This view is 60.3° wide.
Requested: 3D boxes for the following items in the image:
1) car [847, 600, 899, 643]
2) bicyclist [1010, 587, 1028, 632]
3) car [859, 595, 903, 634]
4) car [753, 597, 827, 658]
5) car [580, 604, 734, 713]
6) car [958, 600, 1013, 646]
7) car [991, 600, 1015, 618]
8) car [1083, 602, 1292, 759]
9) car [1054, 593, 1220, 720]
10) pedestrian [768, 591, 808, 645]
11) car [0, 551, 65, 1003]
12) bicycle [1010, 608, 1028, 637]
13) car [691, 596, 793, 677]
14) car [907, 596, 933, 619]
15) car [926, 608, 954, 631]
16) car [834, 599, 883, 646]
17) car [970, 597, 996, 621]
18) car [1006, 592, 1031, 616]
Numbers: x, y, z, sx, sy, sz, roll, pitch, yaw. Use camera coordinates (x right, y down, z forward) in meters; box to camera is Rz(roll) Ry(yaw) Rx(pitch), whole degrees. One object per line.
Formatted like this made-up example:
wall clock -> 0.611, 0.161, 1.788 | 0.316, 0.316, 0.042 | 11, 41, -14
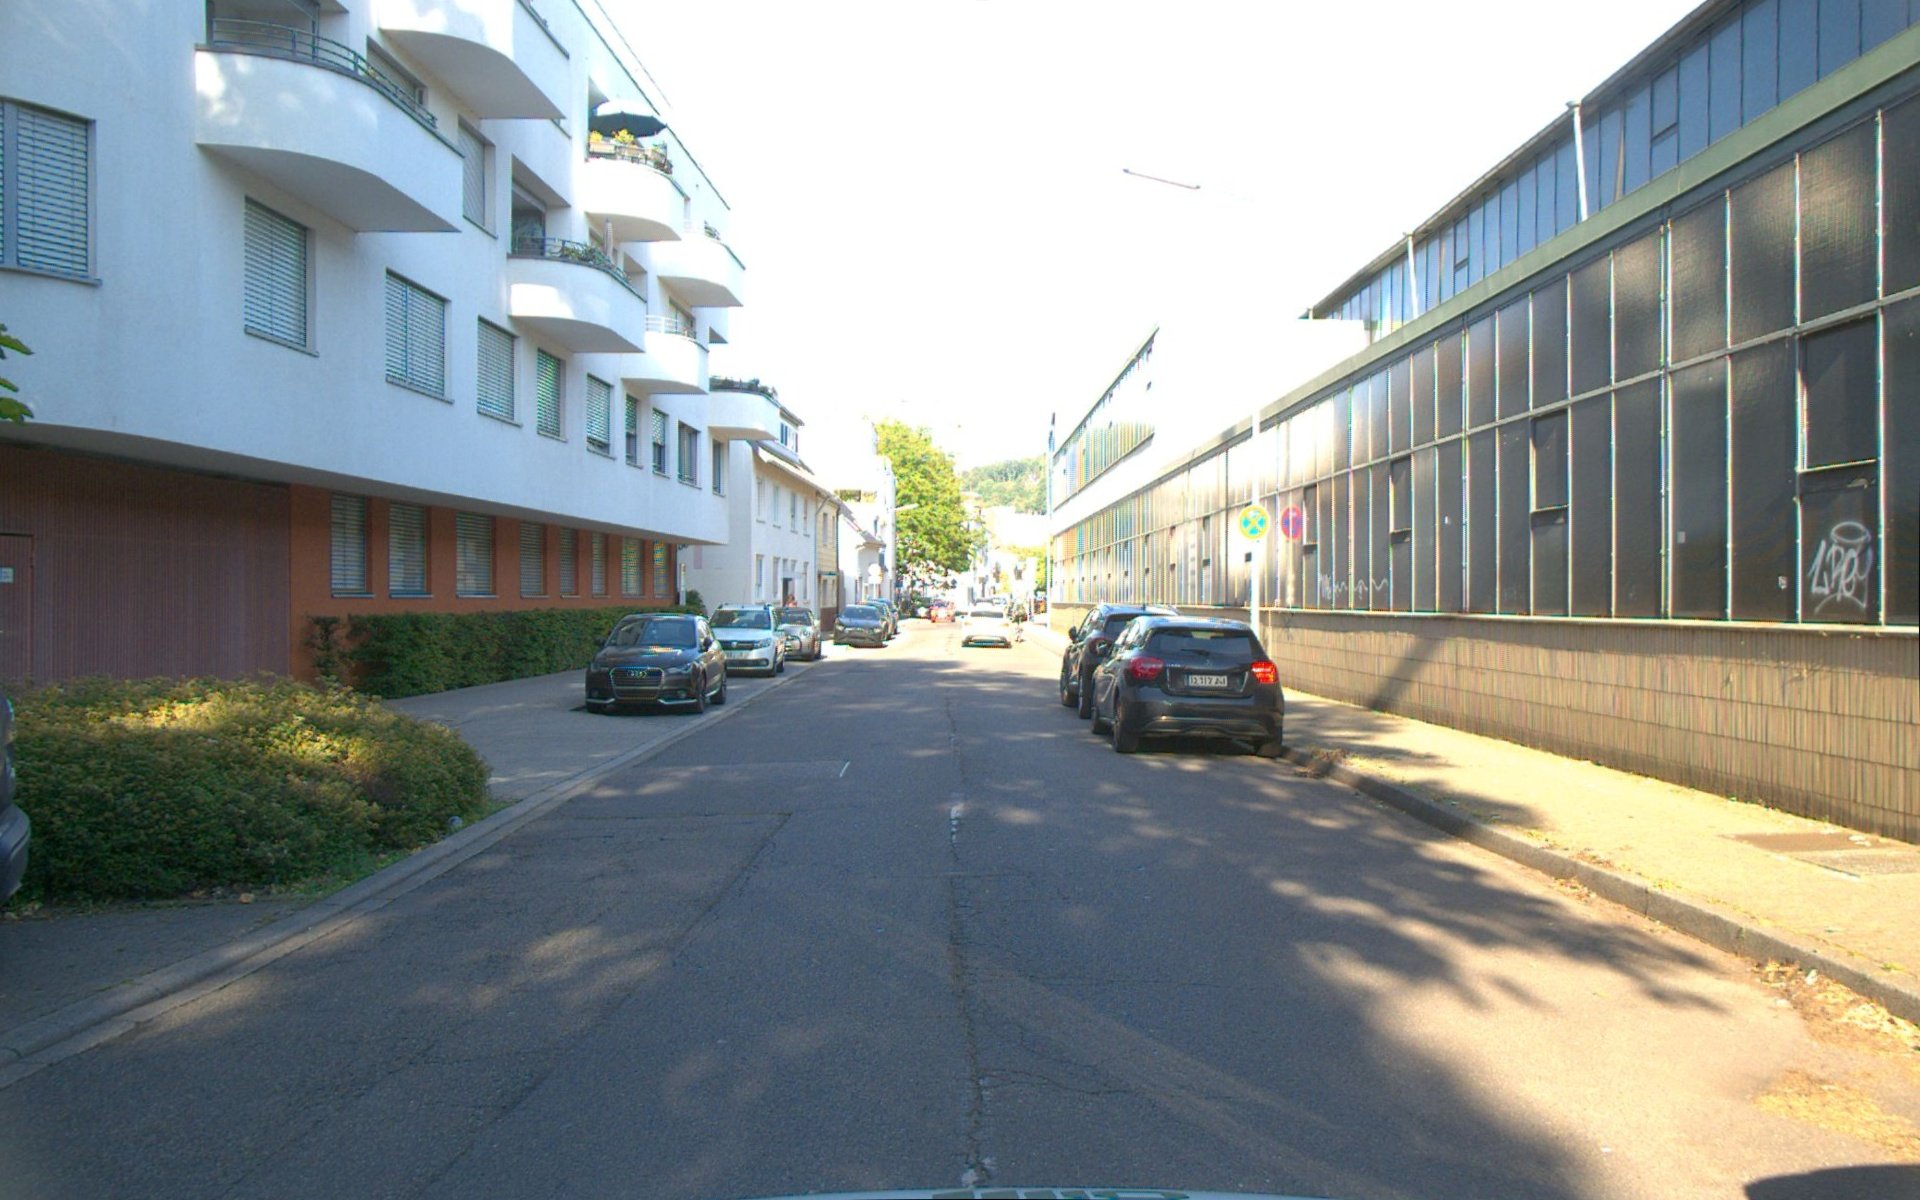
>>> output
car -> -3.647, 0.886, 69.759 | 1.819, 1.614, 4.336 | 3, 1, 1
bicyclist -> 2.426, 0.377, 67.636 | 0.684, 1.821, 1.041 | 1, -1, 2
car -> -3.725, 0.670, 78.471 | 1.772, 1.614, 4.193 | 3, 1, 0
car -> -4.718, 0.767, 46.350 | 1.633, 1.562, 3.856 | 3, -1, 0
car -> -4.499, 0.836, 25.057 | 1.640, 1.458, 3.769 | 3, -1, -1
car -> 0.878, 0.810, 59.001 | 1.804, 1.517, 4.143 | 1, -1, 0
car -> 3.882, 0.843, 149.874 | 1.803, 1.517, 4.147 | 1, -1, 6
car -> 2.492, 0.845, 19.146 | 1.715, 1.517, 4.621 | 3, -1, 0
car -> 2.495, 0.779, 24.332 | 1.771, 1.615, 4.403 | 3, -1, -2
pedestrian -> -6.095, 0.638, 58.611 | 0.844, 1.850, 1.131 | 4, 0, 24
car -> -5.557, 0.609, 6.084 | 3.902, 1.691, 1.684 | 2, -1, -28
bicycle -> 2.414, 0.909, 67.554 | 0.684, 1.150, 2.403 | 1, -1, 2
car -> -4.791, 0.794, 36.951 | 1.821, 1.615, 4.618 | 3, -1, -3
car -> -3.180, 0.582, 133.131 | 1.814, 1.823, 4.608 | 1, 0, 2
car -> -1.333, 1.339, 112.951 | 1.804, 1.517, 4.144 | 1, -1, 0
car -> -3.628, 0.801, 59.341 | 1.651, 1.562, 4.332 | 3, -1, -3
car -> 1.788, 0.704, 129.743 | 1.815, 1.823, 4.606 | 1, 0, -1
car -> 4.083, 0.314, 115.878 | 1.596, 1.615, 4.069 | -2, 0, 0
